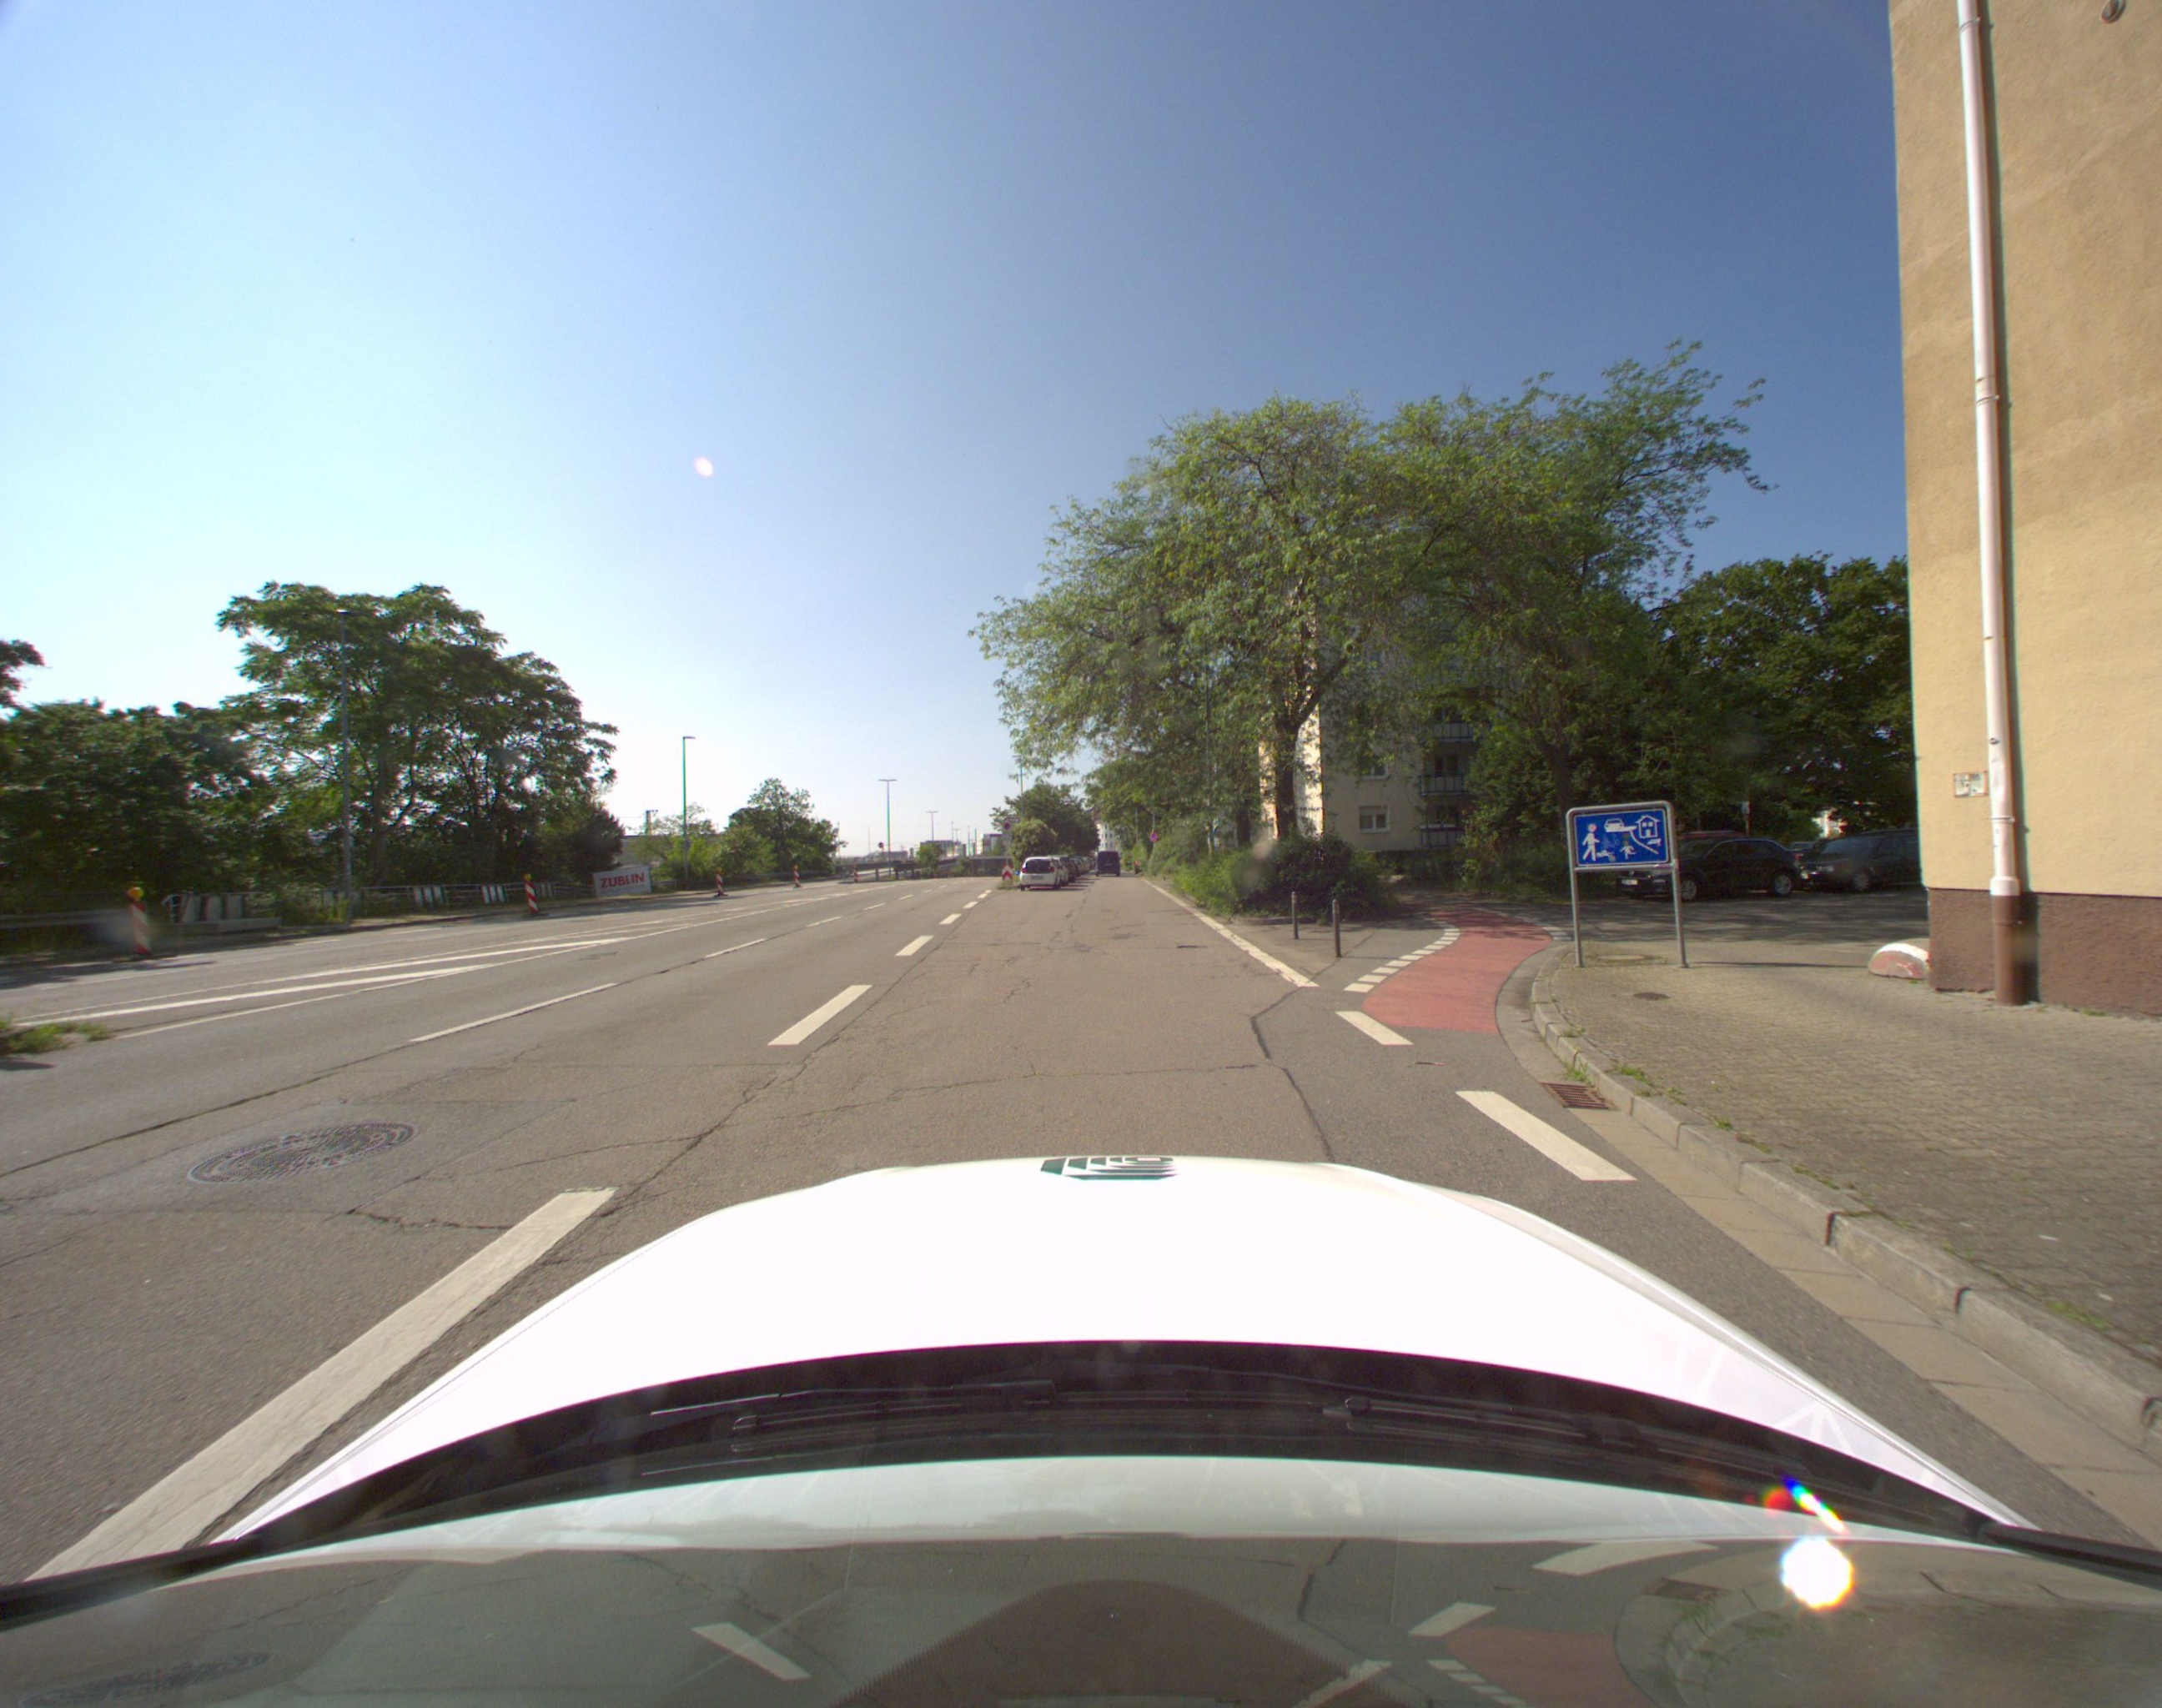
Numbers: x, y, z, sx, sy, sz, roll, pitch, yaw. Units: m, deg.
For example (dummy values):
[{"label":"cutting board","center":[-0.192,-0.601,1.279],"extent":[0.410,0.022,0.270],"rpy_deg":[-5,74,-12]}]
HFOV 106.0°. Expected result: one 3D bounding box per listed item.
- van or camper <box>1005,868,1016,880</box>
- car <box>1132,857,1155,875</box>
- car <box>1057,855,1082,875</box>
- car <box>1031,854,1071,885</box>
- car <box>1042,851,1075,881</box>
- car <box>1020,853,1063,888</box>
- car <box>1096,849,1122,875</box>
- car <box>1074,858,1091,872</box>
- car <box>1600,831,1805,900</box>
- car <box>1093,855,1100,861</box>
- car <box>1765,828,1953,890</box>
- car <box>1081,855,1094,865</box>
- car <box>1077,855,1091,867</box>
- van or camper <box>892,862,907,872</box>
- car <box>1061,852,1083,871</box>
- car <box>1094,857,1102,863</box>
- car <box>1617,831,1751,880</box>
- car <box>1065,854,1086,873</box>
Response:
[{"label":"van or camper","center":[-18.120,5.163,209.559],"extent":[2.288,2.789,5.572],"rpy_deg":[-1,-1,1]},{"label":"car","center":[5.357,0.987,69.938],"extent":[1.720,1.420,4.001],"rpy_deg":[-3,-1,2]},{"label":"car","center":[-0.850,0.806,62.946],"extent":[1.657,1.473,3.791],"rpy_deg":[1,0,2]},{"label":"car","center":[-1.502,0.743,41.768],"extent":[1.714,1.505,4.134],"rpy_deg":[1,0,2]},{"label":"car","center":[-1.259,0.668,47.251],"extent":[1.766,1.579,4.186],"rpy_deg":[-2,0,0]},{"label":"car","center":[-1.767,0.737,37.213],"extent":[1.613,1.505,3.463],"rpy_deg":[0,0,2]},{"label":"car","center":[2.168,0.575,62.758],"extent":[1.875,1.921,4.010],"rpy_deg":[1,0,2]},{"label":"car","center":[0.157,1.206,88.994],"extent":[1.657,1.468,4.203],"rpy_deg":[1,0,2]},{"label":"car","center":[15.582,0.274,20.518],"extent":[3.956,1.548,1.836],"rpy_deg":[-1,0,-8]},{"label":"car","center":[4.532,1.230,239.832],"extent":[1.986,1.657,4.001],"rpy_deg":[-1,-1,1]},{"label":"car","center":[20.306,0.117,21.307],"extent":[3.763,1.442,1.773],"rpy_deg":[-2,0,-13]},{"label":"car","center":[1.004,0.903,121.904],"extent":[1.657,1.509,4.011],"rpy_deg":[-2,0,2]},{"label":"car","center":[0.437,0.877,105.841],"extent":[1.657,1.509,4.010],"rpy_deg":[1,0,2]},{"label":"van or camper","center":[-28.074,1.990,125.944],"extent":[1.464,1.350,4.623],"rpy_deg":[-1,0,-4]},{"label":"car","center":[-0.705,0.615,68.783],"extent":[1.657,1.512,3.791],"rpy_deg":[1,0,2]},{"label":"car","center":[4.770,1.614,227.785],"extent":[1.986,1.657,4.001],"rpy_deg":[-1,-1,1]},{"label":"car","center":[22.108,0.090,30.052],"extent":[3.798,1.673,1.673],"rpy_deg":[-2,-1,32]},{"label":"car","center":[-0.448,0.823,73.600],"extent":[1.657,1.583,3.934],"rpy_deg":[-2,0,2]}]
